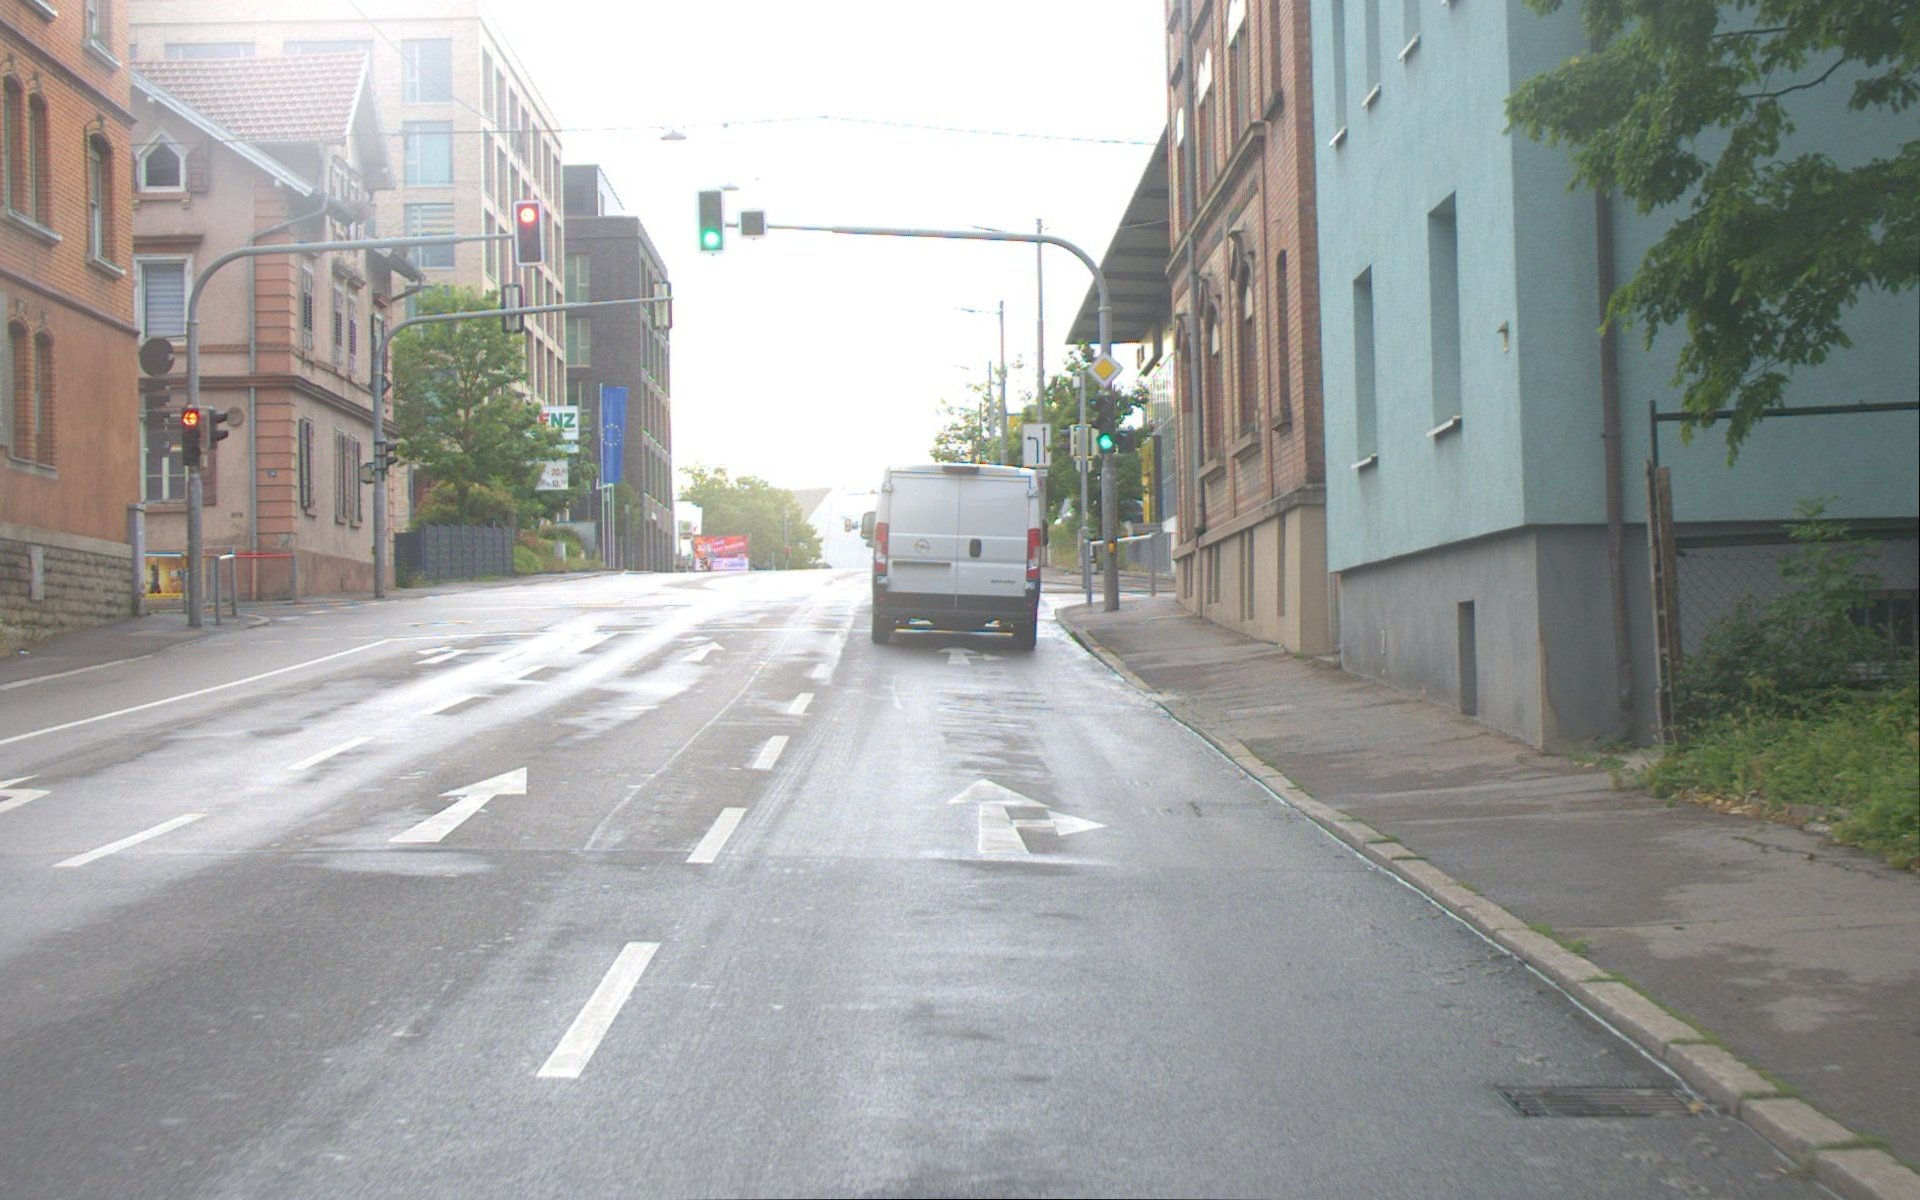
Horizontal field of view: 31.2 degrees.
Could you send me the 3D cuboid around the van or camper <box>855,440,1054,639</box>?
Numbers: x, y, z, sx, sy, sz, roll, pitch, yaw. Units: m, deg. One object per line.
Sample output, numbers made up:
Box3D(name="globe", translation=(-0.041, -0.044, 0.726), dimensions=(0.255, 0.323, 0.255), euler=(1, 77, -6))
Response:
Box3D(name="van or camper", translation=(-0.070, -0.736, 43.386), dimensions=(2.340, 2.349, 5.199), euler=(0, 0, 0))
